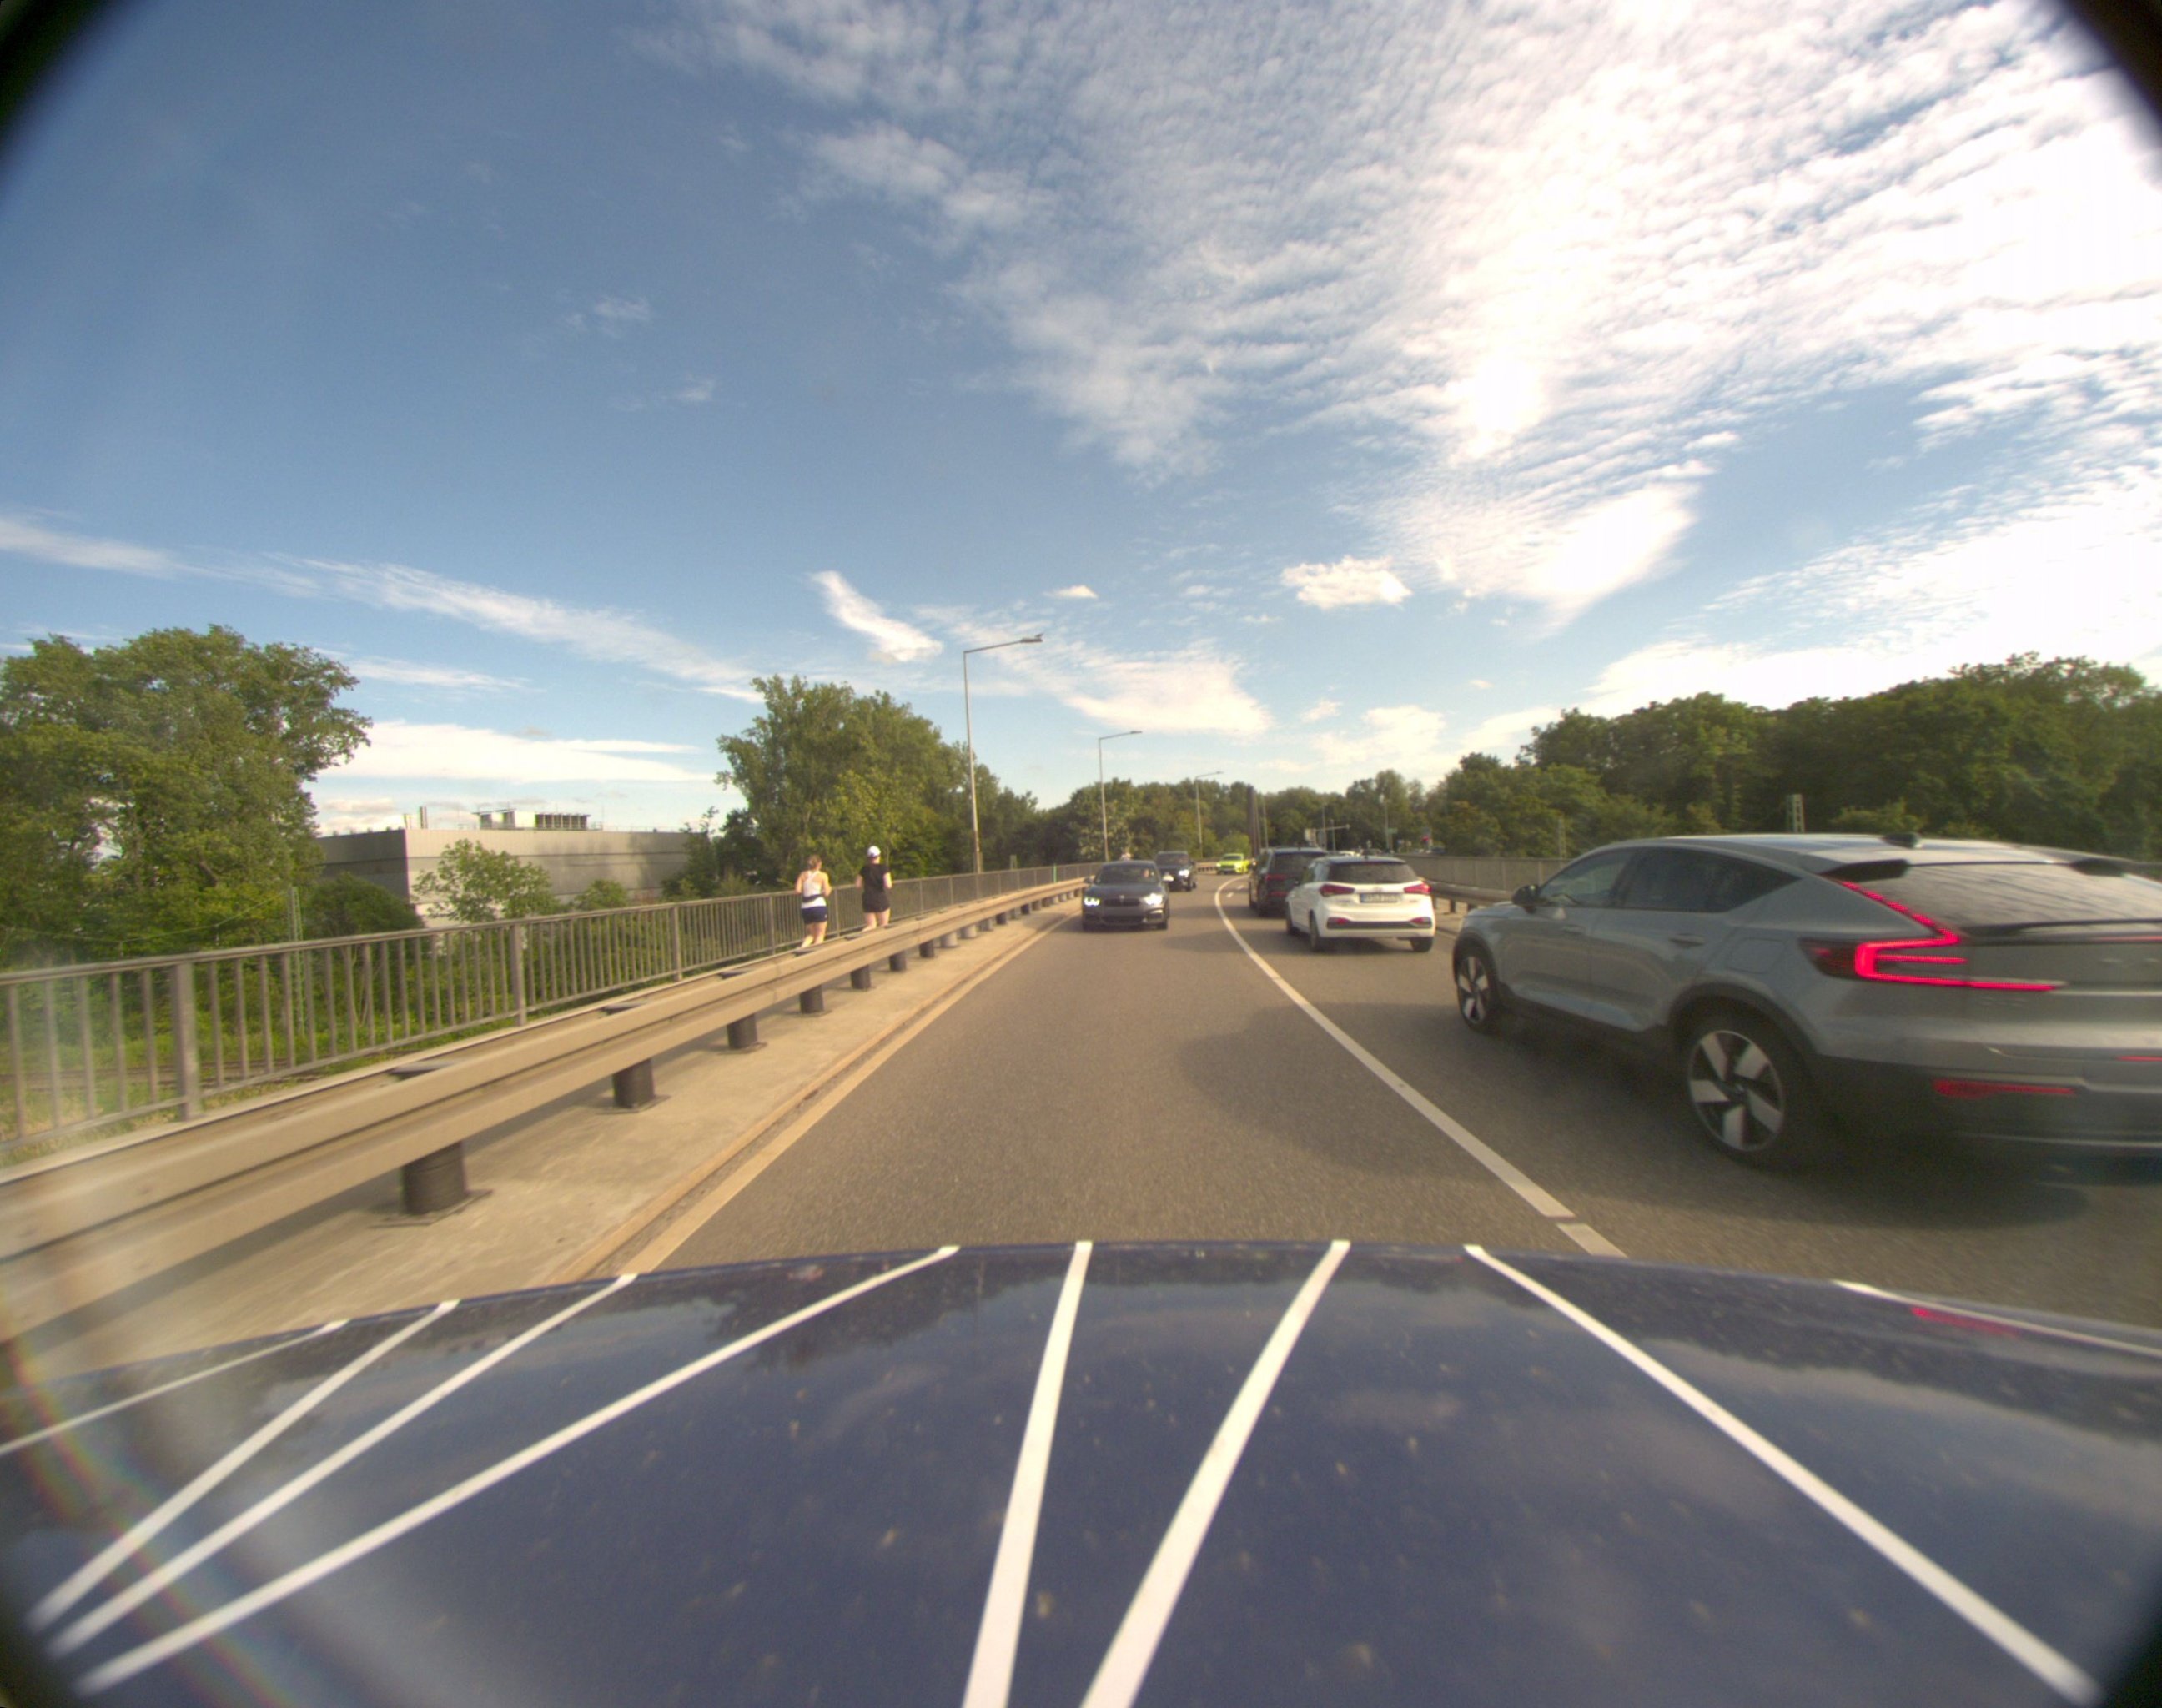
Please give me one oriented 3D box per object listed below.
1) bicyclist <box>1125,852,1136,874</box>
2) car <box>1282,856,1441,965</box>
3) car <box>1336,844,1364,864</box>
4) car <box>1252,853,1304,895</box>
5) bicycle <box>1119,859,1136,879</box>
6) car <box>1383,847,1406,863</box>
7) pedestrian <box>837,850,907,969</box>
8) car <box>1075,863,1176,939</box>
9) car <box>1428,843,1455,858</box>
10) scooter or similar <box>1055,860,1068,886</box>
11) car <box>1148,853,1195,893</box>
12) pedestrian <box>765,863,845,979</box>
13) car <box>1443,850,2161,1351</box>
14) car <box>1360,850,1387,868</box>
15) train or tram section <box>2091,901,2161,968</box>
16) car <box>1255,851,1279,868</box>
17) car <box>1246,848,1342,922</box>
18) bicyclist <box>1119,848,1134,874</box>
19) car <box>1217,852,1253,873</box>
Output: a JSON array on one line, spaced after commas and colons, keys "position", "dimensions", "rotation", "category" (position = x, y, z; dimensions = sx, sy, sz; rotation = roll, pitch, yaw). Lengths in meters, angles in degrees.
[{"position": [2.978, 0.540, 45.790], "dimensions": [0.500, 1.294, 0.539], "rotation": [-1, 1, 20], "category": "bicyclist"}, {"position": [4.509, 0.817, 12.823], "dimensions": [1.744, 1.492, 4.080], "rotation": [-1, 0, 9], "category": "car"}, {"position": [23.605, -0.030, 66.535], "dimensions": [1.871, 1.656, 4.637], "rotation": [-1, 0, 25], "category": "car"}, {"position": [7.463, 0.712, 29.119], "dimensions": [1.762, 1.481, 4.449], "rotation": [-1, 0, 13], "category": "car"}, {"position": [2.789, 0.873, 45.463], "dimensions": [0.596, 1.114, 1.699], "rotation": [-1, 1, 20], "category": "bicycle"}, {"position": [35.615, 0.138, 86.232], "dimensions": [1.774, 1.736, 3.844], "rotation": [0, 1, 32], "category": "car"}, {"position": [-3.035, 0.784, 11.123], "dimensions": [0.678, 1.652, 0.865], "rotation": [-1, 1, 6], "category": "pedestrian"}, {"position": [1.104, 0.941, 16.747], "dimensions": [1.785, 1.396, 3.973], "rotation": [-1, 0, 10], "category": "car"}, {"position": [47.917, -0.484, 100.872], "dimensions": [1.986, 1.953, 5.058], "rotation": [0, 1, 40], "category": "car"}, {"position": [-0.895, 0.861, 34.598], "dimensions": [0.266, 1.155, 1.190], "rotation": [-1, 1, 14], "category": "scooter or similar"}, {"position": [3.835, 0.753, 32.229], "dimensions": [1.818, 1.498, 4.393], "rotation": [-1, 0, 6], "category": "car"}, {"position": [-3.872, 0.912, 10.725], "dimensions": [0.678, 1.535, 0.961], "rotation": [-1, 1, 6], "category": "pedestrian"}, {"position": [3.983, 0.791, 4.579], "dimensions": [1.756, 1.600, 4.314], "rotation": [-1, 0, 3], "category": "car"}, {"position": [29.062, 0.446, 75.419], "dimensions": [1.774, 1.736, 3.844], "rotation": [0, 1, 32], "category": "car"}, {"position": [65.181, 4.747, 45.280], "dimensions": [6.836, 3.762, 2.051], "rotation": [-1, 1, 3], "category": "train or tram section"}, {"position": [15.398, 0.429, 62.742], "dimensions": [1.688, 1.315, 3.789], "rotation": [-1, 1, 18], "category": "car"}, {"position": [5.281, 0.681, 19.408], "dimensions": [1.832, 1.662, 4.870], "rotation": [-1, 0, 10], "category": "car"}, {"position": [2.731, 0.422, 45.303], "dimensions": [0.708, 1.548, 0.755], "rotation": [-1, 1, 20], "category": "bicyclist"}, {"position": [10.853, 0.553, 53.448], "dimensions": [1.816, 1.396, 4.397], "rotation": [-1, 0, 20], "category": "car"}]
